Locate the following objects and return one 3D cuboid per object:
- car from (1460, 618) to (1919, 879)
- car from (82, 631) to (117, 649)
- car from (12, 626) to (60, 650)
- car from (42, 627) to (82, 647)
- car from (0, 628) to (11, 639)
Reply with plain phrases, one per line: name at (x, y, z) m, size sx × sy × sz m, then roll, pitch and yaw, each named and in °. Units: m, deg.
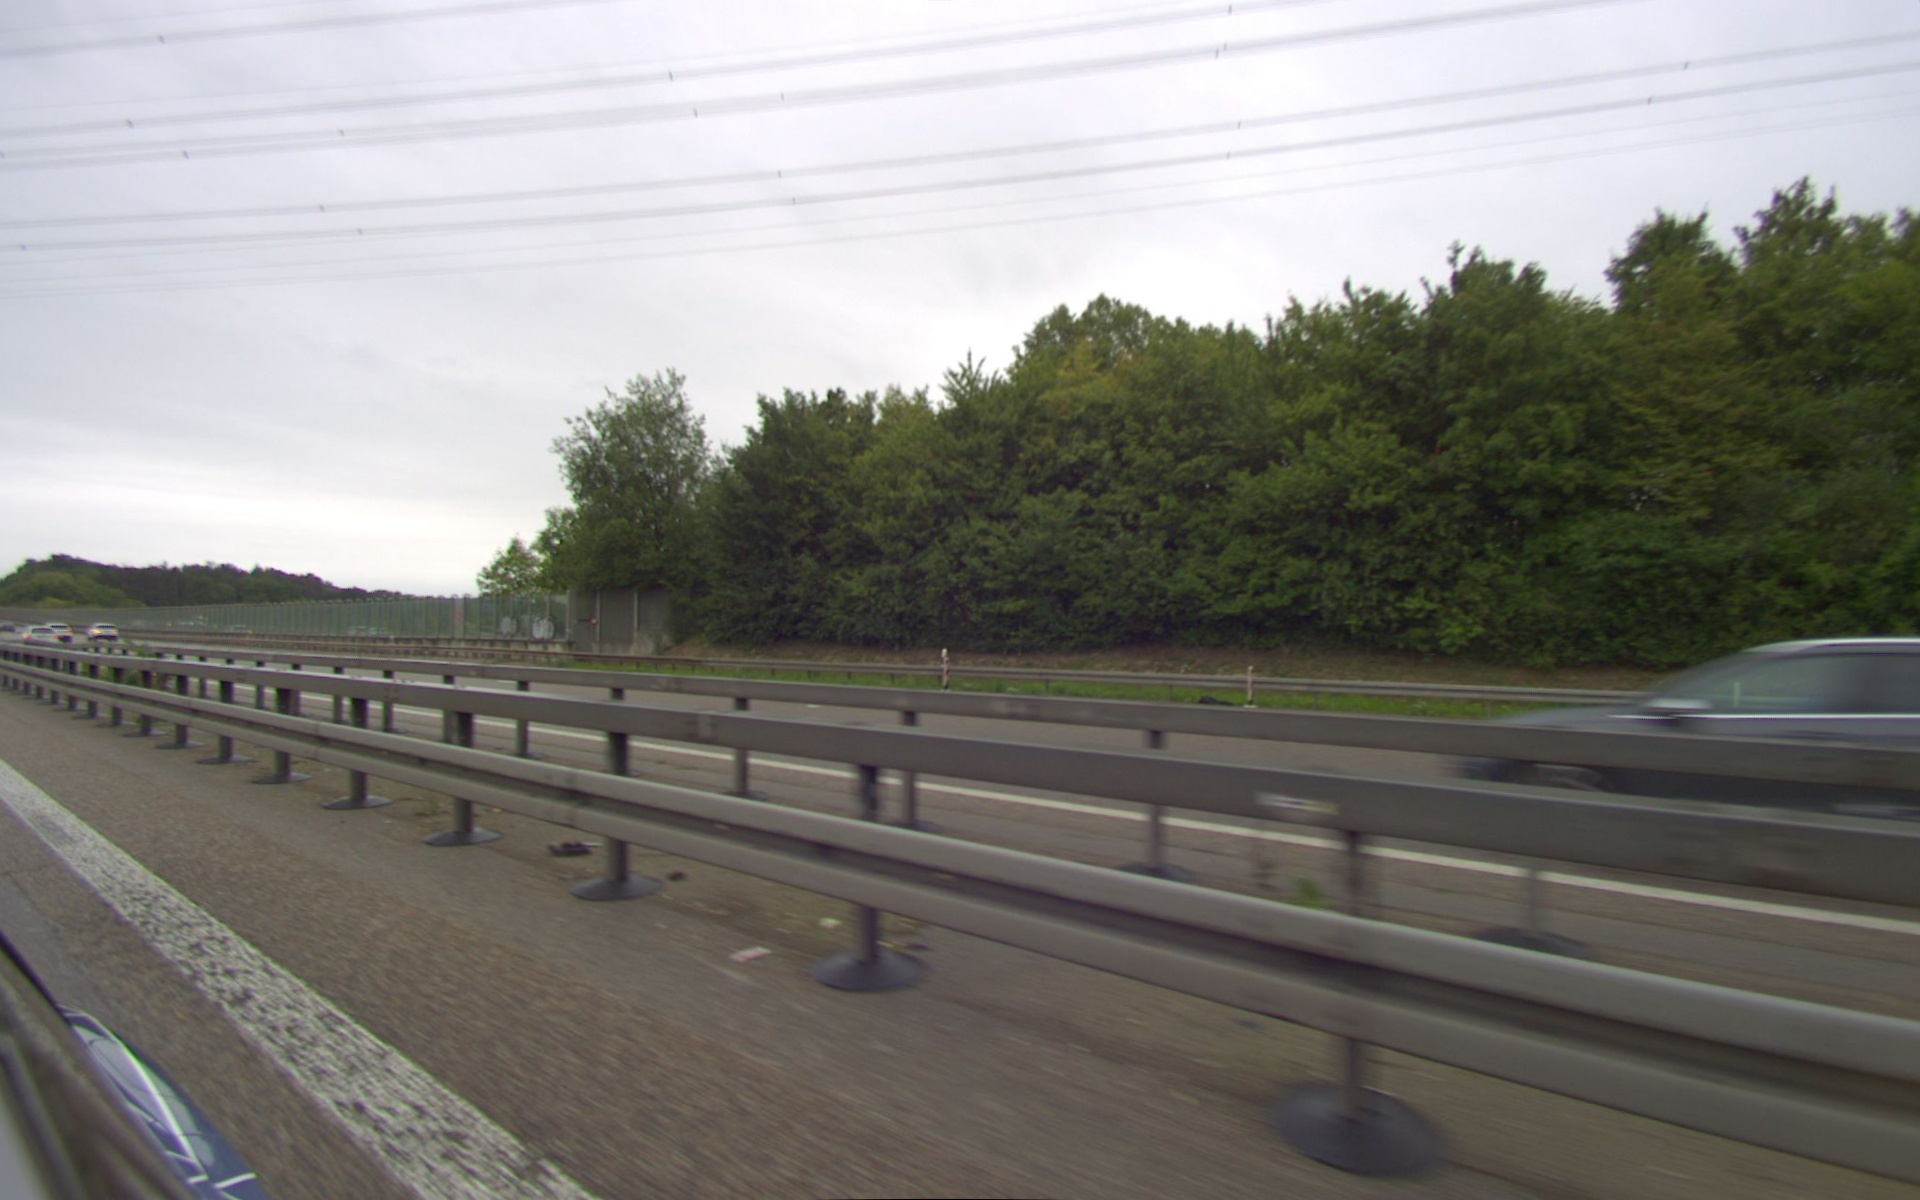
car at (6.133, 0.904, 6.675) m, size 4.788 × 1.524 × 1.803 m, roll -2°, pitch -3°, yaw 41°
car at (-87.859, 4.050, 103.288) m, size 4.913 × 1.833 × 1.929 m, roll -2°, pitch -3°, yaw 41°
car at (-59.580, 2.447, 65.216) m, size 4.760 × 1.472 × 1.738 m, roll -1°, pitch -4°, yaw 41°
car at (-76.176, 3.124, 85.828) m, size 4.712 × 1.678 × 1.884 m, roll -1°, pitch -3°, yaw 41°
car at (-138.711, 4.818, 146.269) m, size 3.814 × 1.511 × 1.809 m, roll -2°, pitch -3°, yaw 41°
